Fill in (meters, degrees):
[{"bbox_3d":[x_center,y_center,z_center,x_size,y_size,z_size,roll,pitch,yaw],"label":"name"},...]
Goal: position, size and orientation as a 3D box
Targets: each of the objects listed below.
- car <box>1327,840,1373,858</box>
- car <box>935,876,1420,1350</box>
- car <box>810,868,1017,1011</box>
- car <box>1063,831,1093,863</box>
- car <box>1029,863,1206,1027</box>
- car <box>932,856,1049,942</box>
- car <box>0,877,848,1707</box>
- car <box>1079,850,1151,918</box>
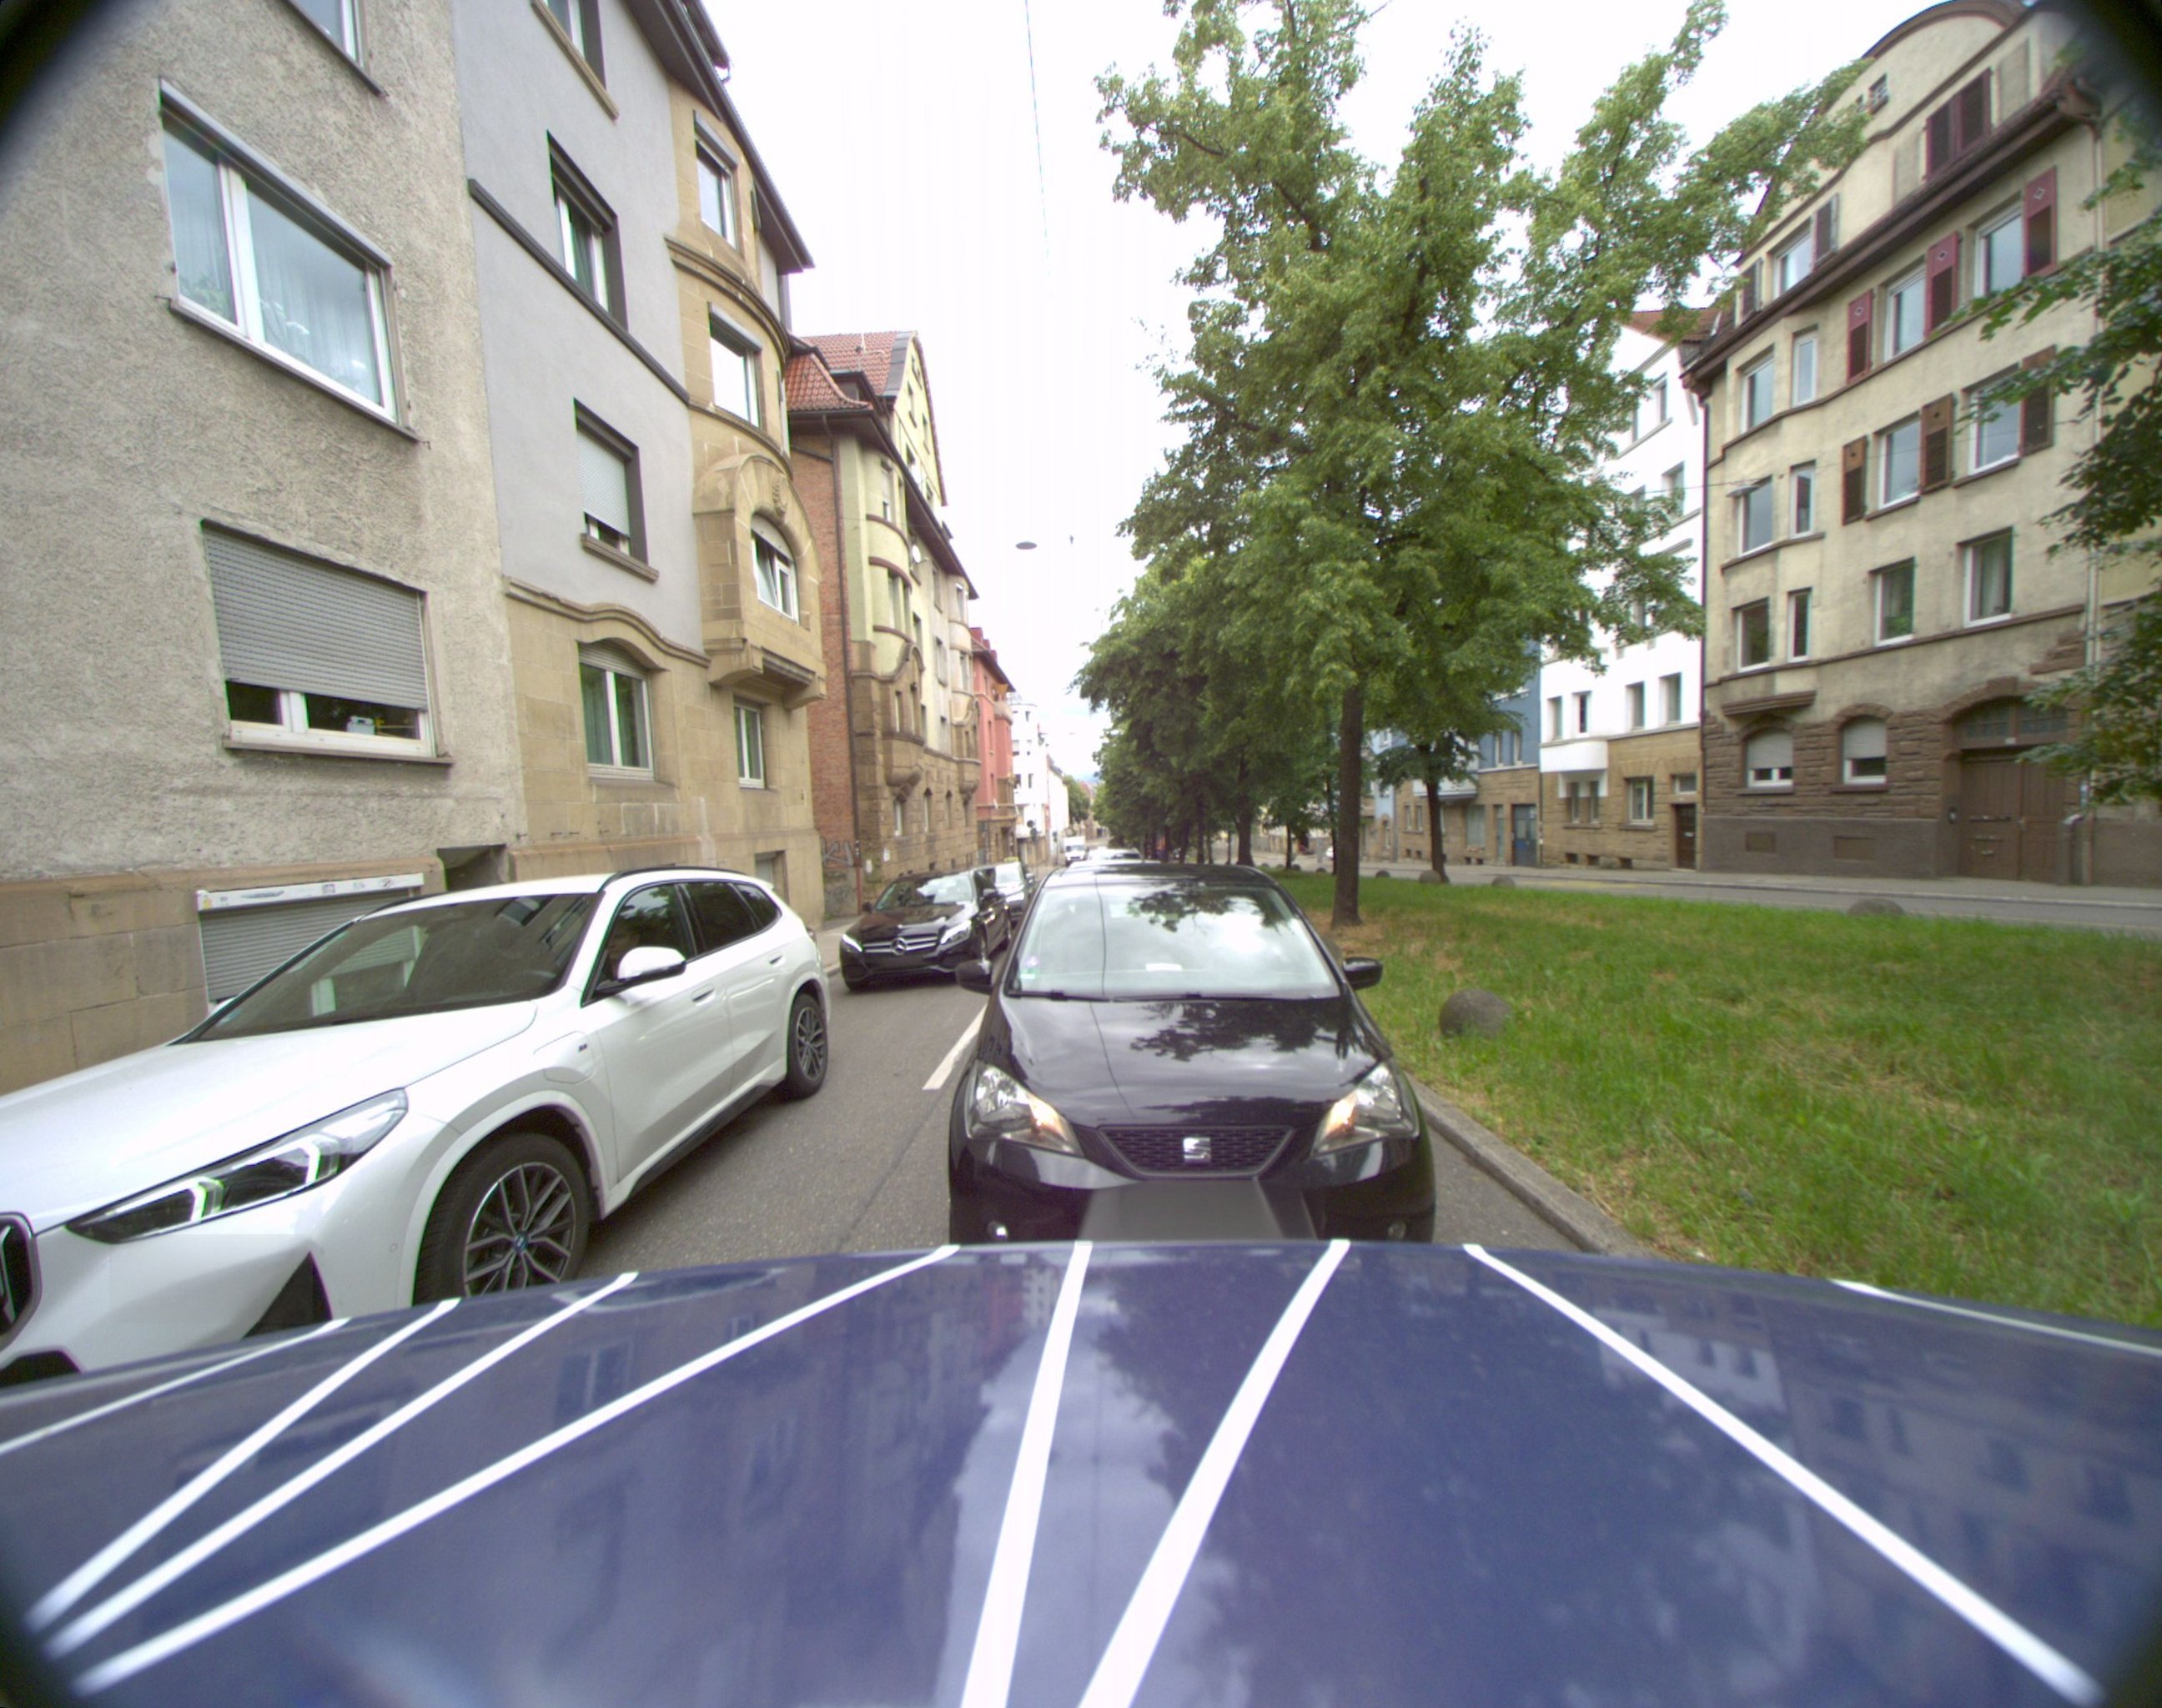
[{"bbox_3d":[22.281,-0.441,63.009,3.291,1.323,1.672,-2,1,10],"label":"car"},{"bbox_3d":[0.344,0.922,4.191,1.611,1.457,3.296,0,1,1],"label":"car"},{"bbox_3d":[-2.146,1.050,11.013,1.884,1.369,4.205,-6,1,1],"label":"car"},{"bbox_3d":[-0.291,-0.686,75.417,2.716,2.879,6.452,-2,1,-1],"label":"car"},{"bbox_3d":[0.383,0.907,9.167,1.664,1.456,3.580,-2,1,1],"label":"car"},{"bbox_3d":[-1.958,0.942,17.840,1.936,1.506,4.303,-6,1,2],"label":"car"},{"bbox_3d":[-2.813,1.077,3.677,1.859,1.547,4.350,-6,1,0],"label":"car"},{"bbox_3d":[0.815,0.682,19.548,1.607,1.492,3.737,-2,1,1],"label":"car"}]
